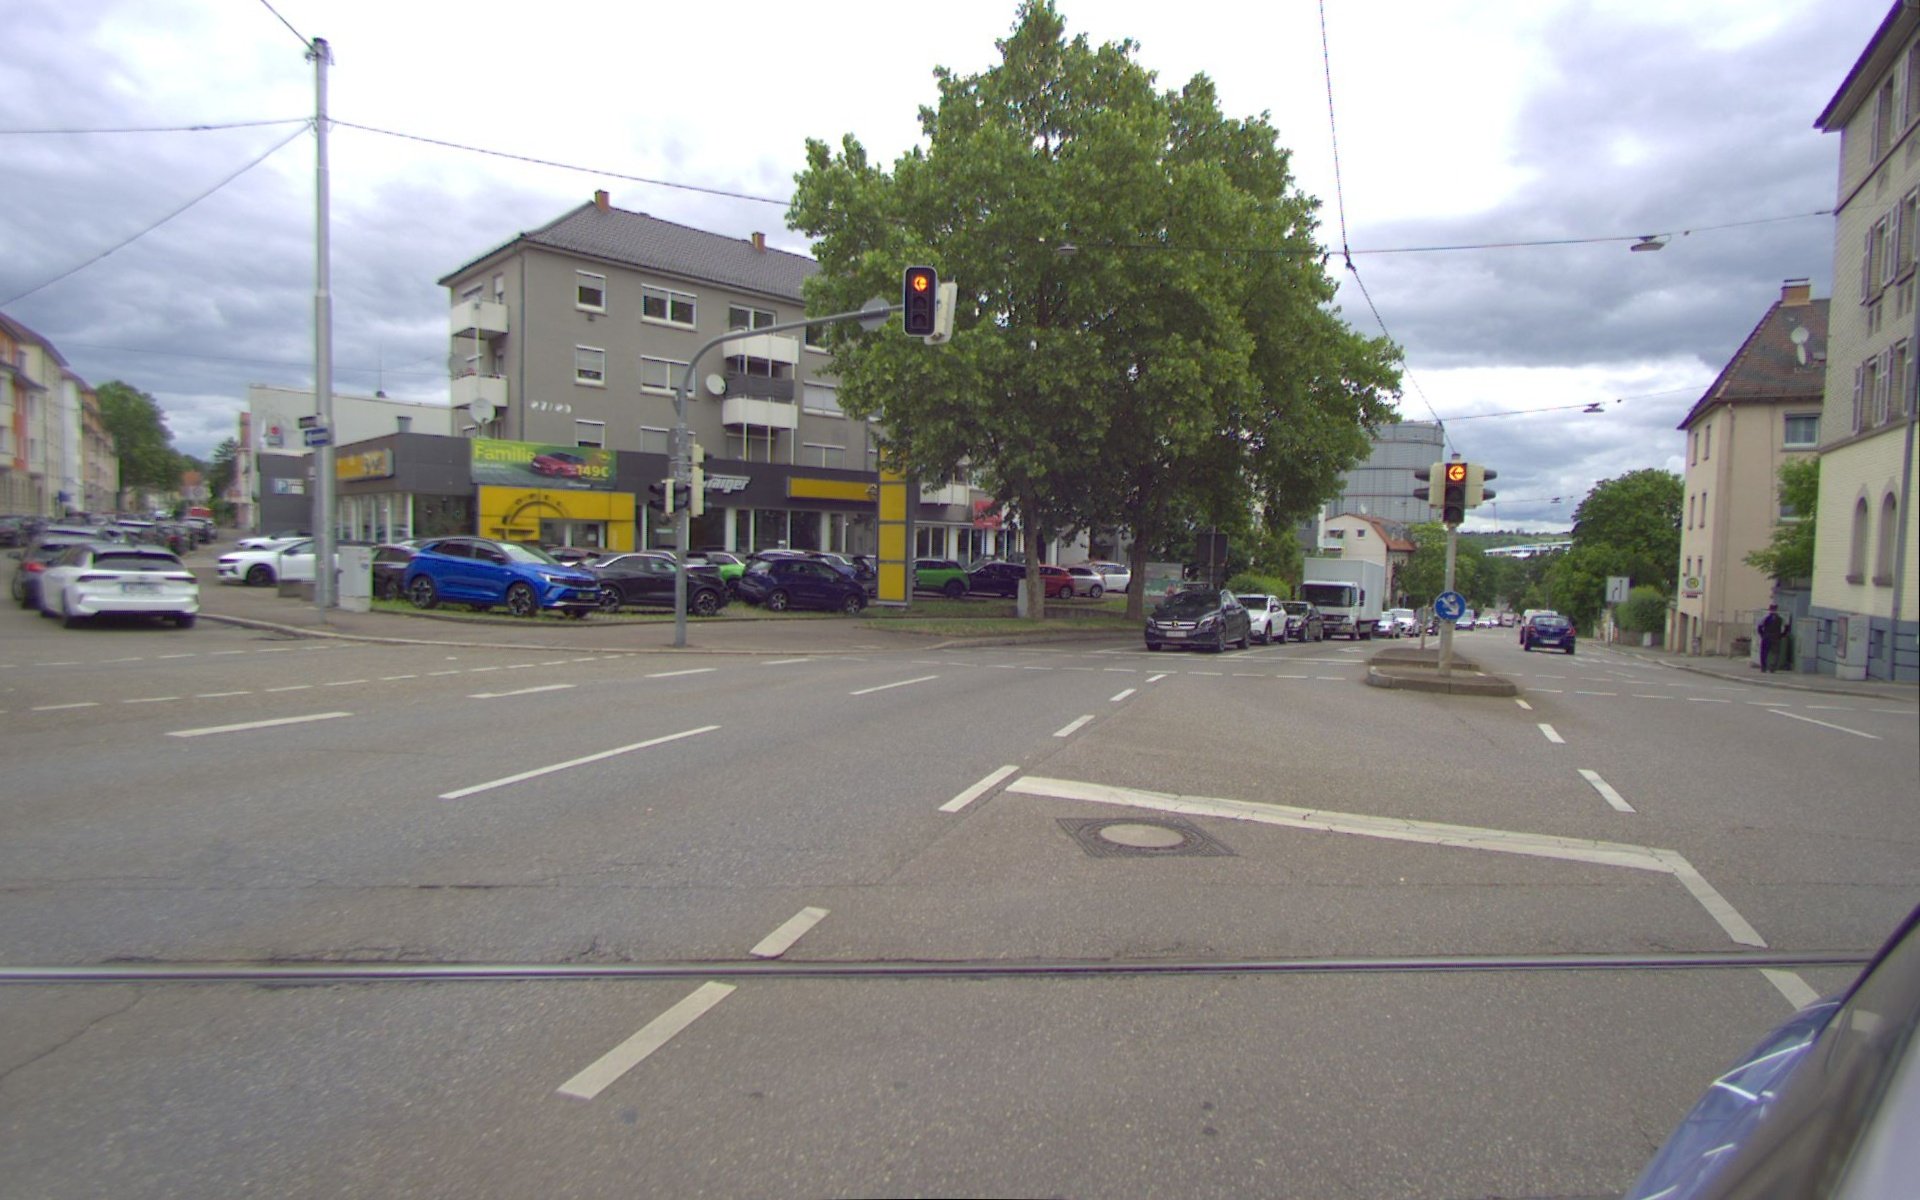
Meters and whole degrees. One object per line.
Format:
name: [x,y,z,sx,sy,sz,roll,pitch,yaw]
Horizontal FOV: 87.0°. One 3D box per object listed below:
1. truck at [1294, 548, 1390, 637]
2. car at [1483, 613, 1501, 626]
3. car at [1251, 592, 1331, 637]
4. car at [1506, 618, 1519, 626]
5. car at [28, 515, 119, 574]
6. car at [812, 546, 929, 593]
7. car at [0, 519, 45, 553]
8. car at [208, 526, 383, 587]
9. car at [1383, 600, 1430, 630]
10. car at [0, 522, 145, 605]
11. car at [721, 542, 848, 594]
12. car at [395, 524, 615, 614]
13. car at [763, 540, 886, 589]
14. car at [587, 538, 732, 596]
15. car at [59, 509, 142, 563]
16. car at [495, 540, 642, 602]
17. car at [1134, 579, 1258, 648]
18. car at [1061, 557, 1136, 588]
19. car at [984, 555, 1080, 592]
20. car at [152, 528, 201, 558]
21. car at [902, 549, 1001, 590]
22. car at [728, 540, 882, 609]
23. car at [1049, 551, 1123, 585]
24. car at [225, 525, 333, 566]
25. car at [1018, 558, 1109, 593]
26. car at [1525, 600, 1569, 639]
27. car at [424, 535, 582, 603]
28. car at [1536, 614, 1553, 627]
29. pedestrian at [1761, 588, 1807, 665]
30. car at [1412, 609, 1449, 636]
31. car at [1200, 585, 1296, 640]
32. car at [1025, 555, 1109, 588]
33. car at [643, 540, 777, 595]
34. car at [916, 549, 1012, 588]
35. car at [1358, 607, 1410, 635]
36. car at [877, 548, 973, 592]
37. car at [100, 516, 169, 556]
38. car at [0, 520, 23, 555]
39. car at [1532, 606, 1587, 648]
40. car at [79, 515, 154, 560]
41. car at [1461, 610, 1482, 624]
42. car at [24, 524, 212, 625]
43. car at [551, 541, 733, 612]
truck: [17.012,-0.332,44.754,2.750,3.546,8.085,1,0,29]
car: [73.150,2.684,139.070,1.984,1.620,3.955,1,0,31]
car: [11.821,0.480,35.959,1.982,1.484,4.365,1,0,28]
car: [107.852,4.272,197.575,1.984,1.620,3.955,1,0,31]
car: [-26.198,-1.667,29.960,1.885,1.553,4.136,2,2,-41]
car: [-3.330,-1.148,37.716,3.961,1.569,1.846,3,2,27]
car: [-50.697,-3.448,54.217,1.881,1.653,4.144,2,2,-34]
car: [-19.479,-1.270,29.763,4.047,1.554,1.791,1,2,-43]
car: [26.131,0.842,59.168,1.984,1.650,4.360,1,0,31]
car: [-19.097,-0.803,21.649,4.126,1.553,1.890,5,2,41]
car: [-5.896,-1.088,33.913,3.969,1.569,1.843,3,2,31]
car: [-9.704,-0.668,21.604,4.209,1.597,1.817,4,1,21]
car: [-4.797,-1.256,35.827,3.961,1.569,1.846,3,2,27]
car: [-9.021,-1.006,30.375,3.960,1.569,1.847,3,2,26]
car: [-29.522,-2.210,34.861,1.883,1.665,4.141,2,2,-37]
car: [-11.133,-0.841,28.760,3.969,1.569,1.843,3,2,31]
car: [5.896,0.288,24.908,1.982,1.545,4.215,1,0,28]
car: [7.452,-1.505,54.591,3.541,1.523,1.796,2,2,-23]
car: [3.283,-1.210,46.384,3.915,1.523,1.868,2,2,-17]
car: [-44.638,-3.250,57.724,1.881,1.553,4.144,2,2,-34]
car: [-0.406,-1.281,42.186,3.919,1.523,1.758,2,1,-6]
car: [-4.640,-0.743,30.461,4.092,1.626,1.831,3,6,-38]
car: [7.455,-1.903,60.134,3.919,1.845,1.866,2,1,-6]
car: [-29.986,-2.404,44.693,3.818,1.554,1.721,2,2,-33]
car: [5.003,-1.195,49.146,3.916,1.523,1.868,2,2,-15]
car: [32.273,1.042,55.732,1.855,1.907,4.242,5,2,28]
car: [-11.929,-0.827,26.371,3.969,1.569,1.843,3,2,31]
car: [79.225,2.803,137.120,1.984,1.620,3.955,1,0,31]
pedestrian: [21.553,0.692,26.486,0.740,1.961,0.894,-1,-1,29]
car: [31.840,1.498,68.417,1.983,1.650,4.363,1,0,30]
car: [8.843,0.342,30.800,1.982,1.545,4.215,1,0,28]
car: [5.449,-1.478,51.903,3.919,1.523,1.866,2,2,-6]
car: [-7.967,-1.036,32.189,3.969,1.569,1.843,3,2,31]
car: [0.145,-1.382,44.120,3.919,1.523,1.866,2,2,-6]
car: [21.957,1.061,52.334,1.904,1.315,4.361,1,0,31]
car: [-1.413,-1.188,39.750,3.537,1.572,1.624,2,1,-8]
car: [-35.629,-2.771,43.779,1.881,1.553,4.144,2,2,-34]
car: [-47.603,-3.130,49.560,1.881,1.653,4.144,2,2,-34]
car: [23.366,1.017,39.396,1.747,1.465,3.709,1,1,32]
car: [-32.192,-2.400,38.702,1.882,1.553,4.142,2,2,-36]
car: [59.506,1.987,117.702,1.984,1.620,3.955,1,0,31]
car: [-15.199,-0.501,18.197,4.124,1.553,1.890,5,2,40]
car: [-7.935,-0.580,25.408,3.925,1.495,1.829,3,1,-38]
